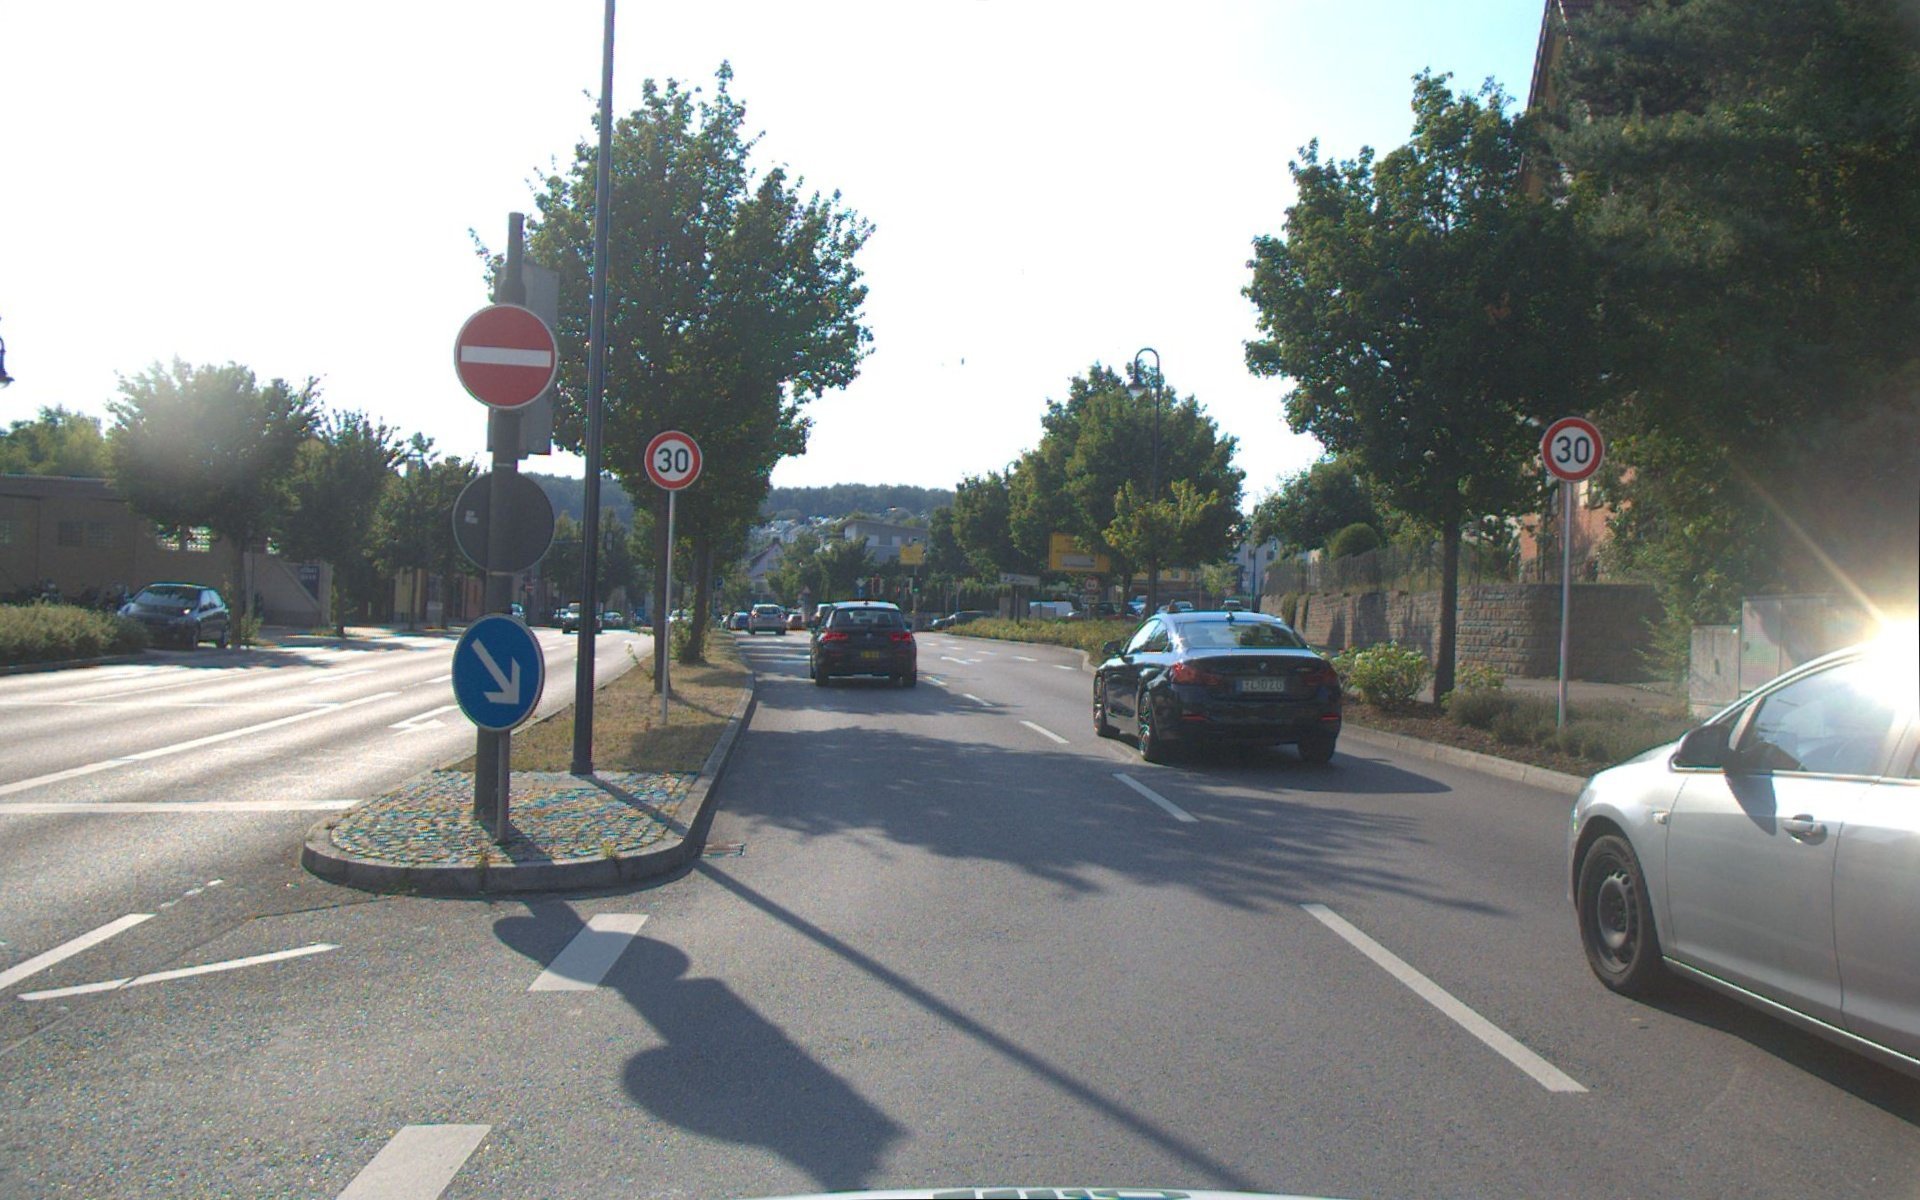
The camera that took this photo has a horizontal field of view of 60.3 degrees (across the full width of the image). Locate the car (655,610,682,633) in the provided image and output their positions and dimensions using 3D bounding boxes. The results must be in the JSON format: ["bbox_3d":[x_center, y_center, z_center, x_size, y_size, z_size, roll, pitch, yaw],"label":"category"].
[{"bbox_3d":[-21.848,1.601,124.069,1.697,1.708,3.994,1,0,-7],"label":"car"}]

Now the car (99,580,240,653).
[{"bbox_3d":[-18.621,0.374,39.176,1.723,1.479,4.125,5,-1,-8],"label":"car"}]

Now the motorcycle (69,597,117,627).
[{"bbox_3d":[-32.803,0.453,62.599,0.505,1.088,1.636,0,0,23],"label":"motorcycle"}]

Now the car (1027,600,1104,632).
[{"bbox_3d":[7.447,1.146,116.964,5.035,2.167,2.133,1,0,-22],"label":"car"}]

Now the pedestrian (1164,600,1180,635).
[{"bbox_3d":[10.493,0.861,81.873,0.681,1.732,0.950,1,0,0],"label":"pedestrian"}]

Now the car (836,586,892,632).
[{"bbox_3d":[-3.971,0.364,67.622,1.889,1.800,4.445,1,0,-9],"label":"car"}]

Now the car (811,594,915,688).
[{"bbox_3d":[-1.666,0.683,29.607,1.686,1.516,4.351,1,0,-1],"label":"car"}]

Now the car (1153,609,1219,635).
[{"bbox_3d":[17.205,1.682,126.029,4.548,1.861,1.995,1,0,-11],"label":"car"}]

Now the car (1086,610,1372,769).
[{"bbox_3d":[2.532,0.802,16.654,1.883,1.388,4.349,1,-1,-4],"label":"car"}]

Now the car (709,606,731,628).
[{"bbox_3d":[-23.102,1.603,159.337,1.738,2.049,3.997,1,0,-4],"label":"car"}]

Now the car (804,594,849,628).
[{"bbox_3d":[-7.395,0.586,91.329,2.176,1.800,4.445,1,0,-9],"label":"car"}]

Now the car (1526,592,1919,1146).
[{"bbox_3d":[3.451,0.744,5.136,1.687,1.516,4.303,0,0,-4],"label":"car"}]

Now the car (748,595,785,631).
[{"bbox_3d":[-9.903,0.644,84.630,1.723,1.800,3.963,1,0,-9],"label":"car"}]

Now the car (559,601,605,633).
[{"bbox_3d":[-17.358,0.767,76.074,1.723,1.385,4.475,1,0,-9],"label":"car"}]

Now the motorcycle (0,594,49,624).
[{"bbox_3d":[-35.181,0.338,62.183,0.505,1.126,1.636,0,0,23],"label":"motorcycle"}]
